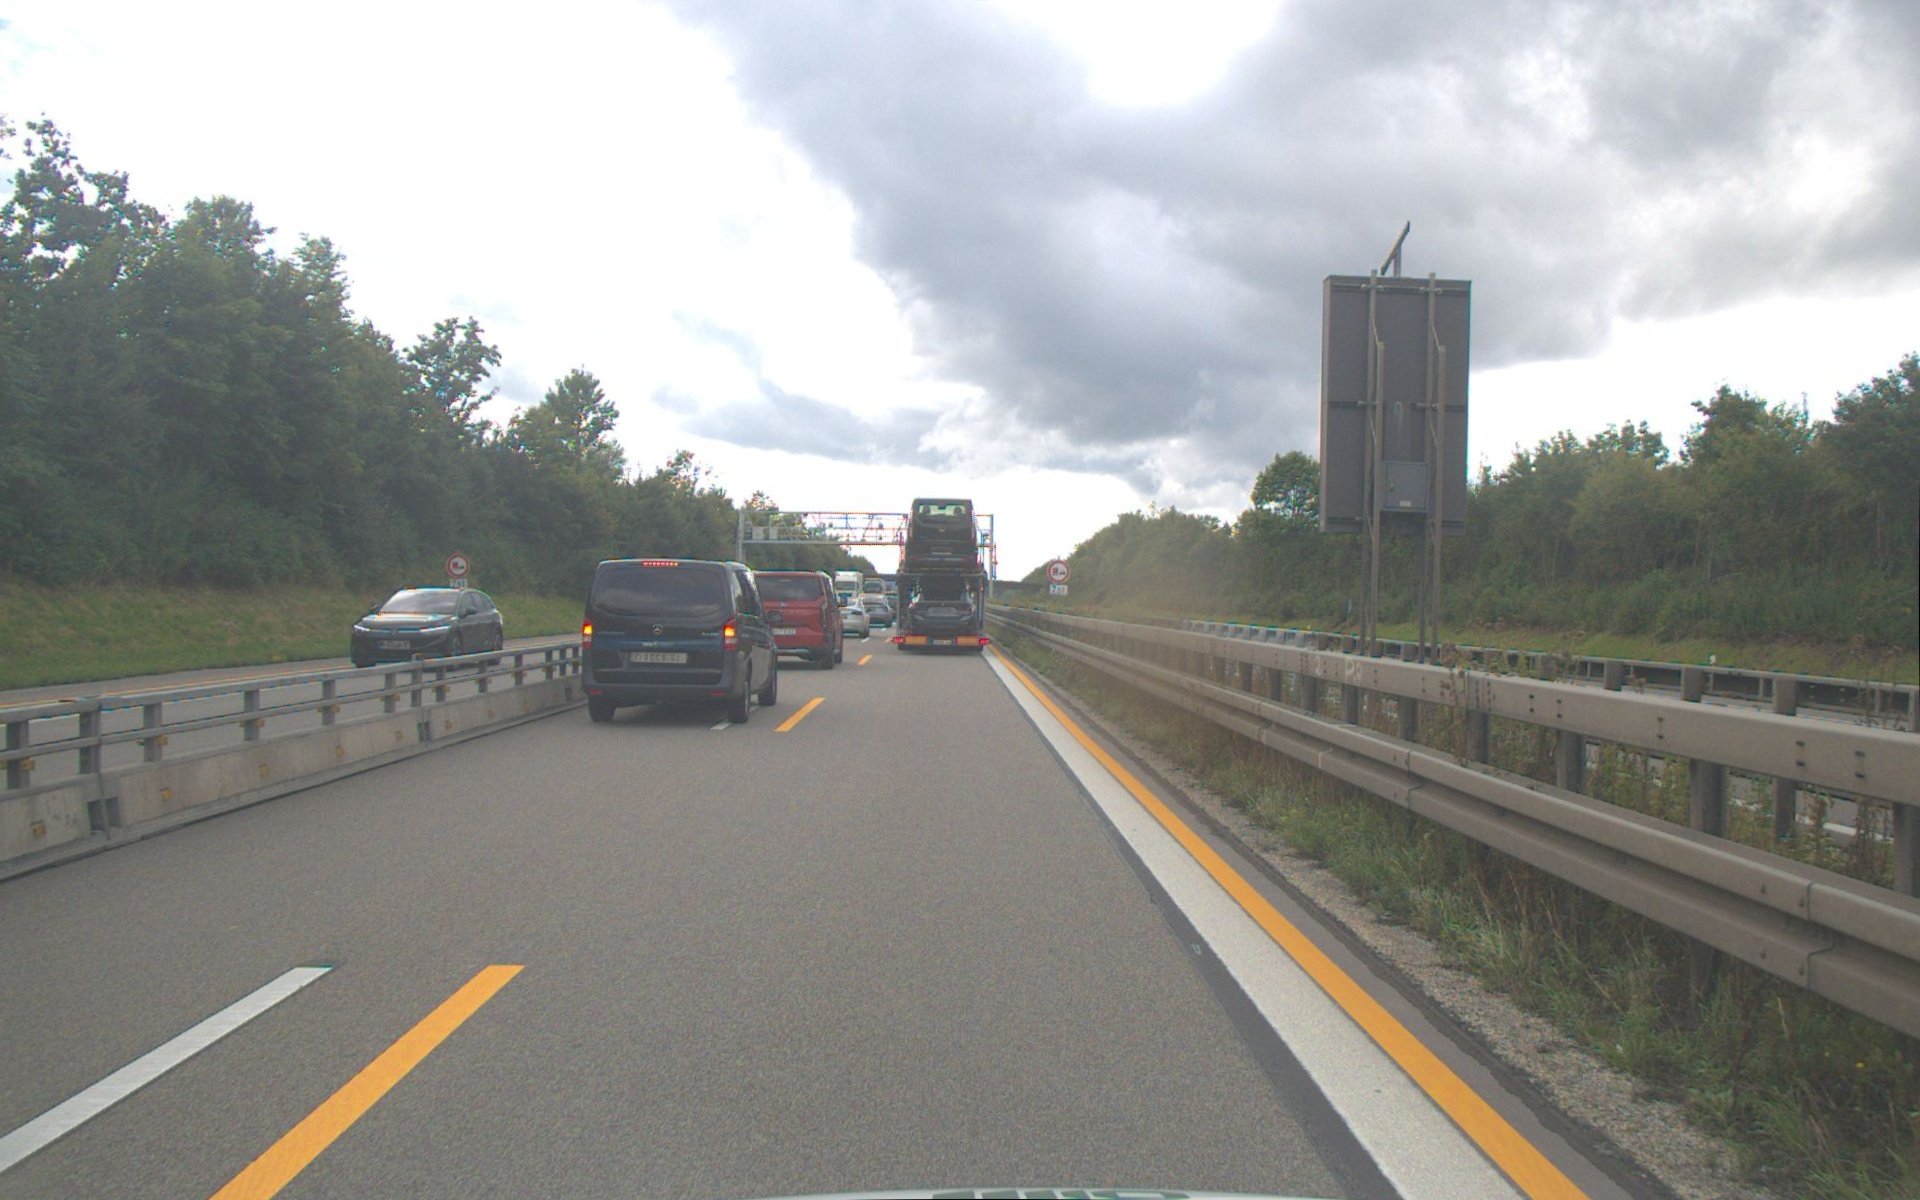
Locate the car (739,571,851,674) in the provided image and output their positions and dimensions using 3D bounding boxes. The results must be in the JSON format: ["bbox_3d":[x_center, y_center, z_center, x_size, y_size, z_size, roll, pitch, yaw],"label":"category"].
[{"bbox_3d":[-3.450,0.441,35.325,1.990,2.049,4.577,0,0,-1],"label":"car"}]

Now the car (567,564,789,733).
[{"bbox_3d":[-3.413,0.532,21.140,1.953,1.875,5.608,0,0,-1],"label":"car"}]

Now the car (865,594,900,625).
[{"bbox_3d":[-4.494,0.544,96.452,1.990,1.788,4.576,0,0,-2],"label":"car"}]

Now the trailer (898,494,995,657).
[{"bbox_3d":[-0.373,-0.624,48.172,2.464,4.177,11.112,1,0,0],"label":"trailer"}]

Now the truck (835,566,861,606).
[{"bbox_3d":[-12.282,-1.515,181.630,2.546,4.227,5.619,1,0,-1],"label":"truck"}]

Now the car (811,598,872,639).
[{"bbox_3d":[-4.311,0.650,60.784,1.990,1.456,4.576,0,0,-1],"label":"car"}]

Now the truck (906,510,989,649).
[{"bbox_3d":[-0.387,-0.625,52.928,2.464,4.177,5.684,1,0,0],"label":"truck"}]

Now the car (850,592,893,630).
[{"bbox_3d":[-4.321,0.525,81.184,1.990,1.788,4.576,0,0,-1],"label":"car"}]

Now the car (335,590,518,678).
[{"bbox_3d":[-10.264,0.611,32.242,1.953,1.550,5.023,1,0,0],"label":"car"}]
